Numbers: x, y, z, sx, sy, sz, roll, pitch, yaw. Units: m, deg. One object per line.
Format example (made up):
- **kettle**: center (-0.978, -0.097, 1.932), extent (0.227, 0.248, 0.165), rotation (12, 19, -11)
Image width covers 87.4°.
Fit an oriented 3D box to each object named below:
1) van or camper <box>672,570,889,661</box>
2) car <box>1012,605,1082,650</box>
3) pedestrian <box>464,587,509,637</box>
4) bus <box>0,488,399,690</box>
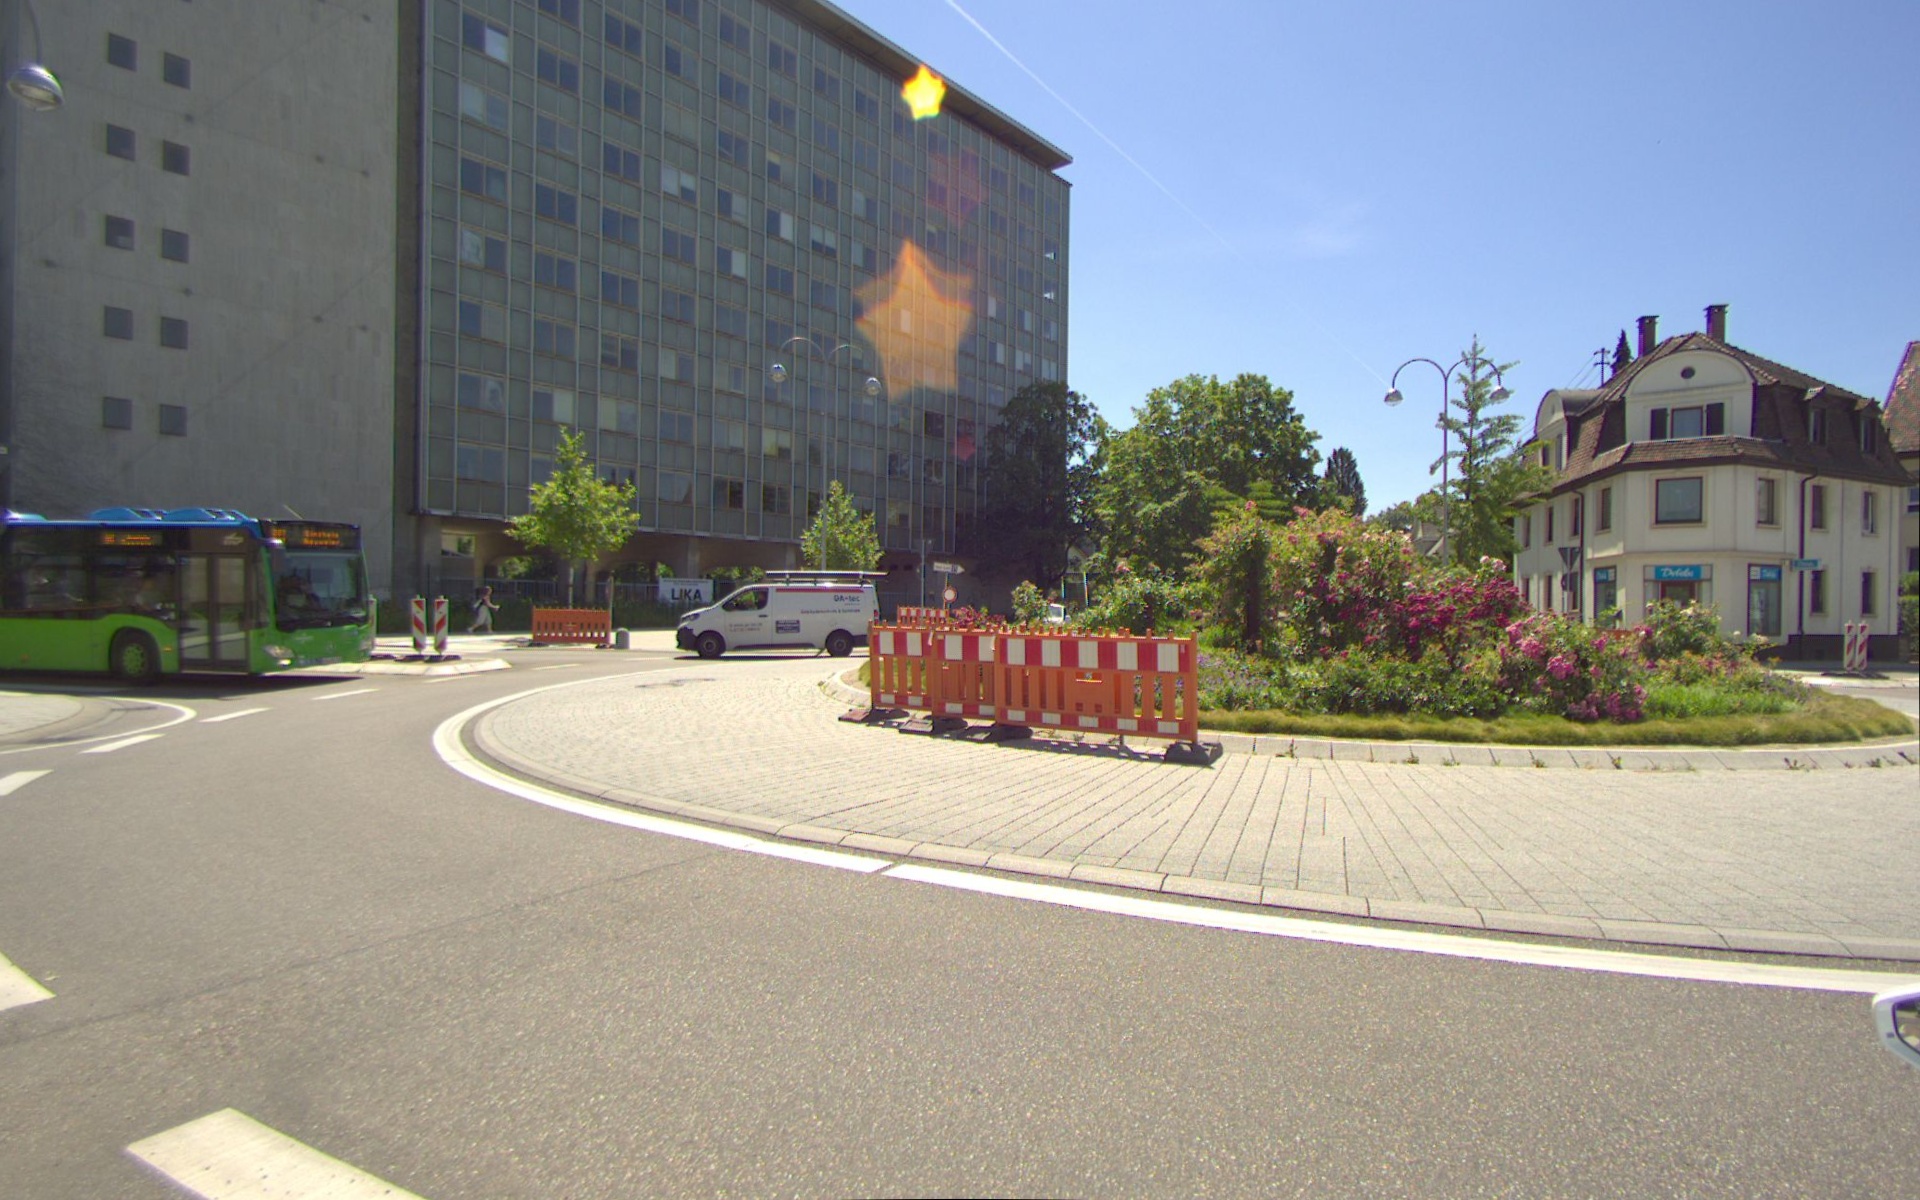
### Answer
- **van or camper**: center (-4.616, 0.399, 26.129), extent (5.317, 2.201, 1.996), rotation (1, 1, -11)
- **car**: center (3.379, 1.072, 38.495), extent (1.755, 1.618, 3.921), rotation (-1, -2, 19)
- **pedestrian**: center (-15.843, 0.402, 33.604), extent (1.267, 1.606, 0.941), rotation (1, 0, -30)
- **bus**: center (-16.200, -0.301, 19.072), extent (9.879, 3.369, 2.965), rotation (1, 2, 8)
